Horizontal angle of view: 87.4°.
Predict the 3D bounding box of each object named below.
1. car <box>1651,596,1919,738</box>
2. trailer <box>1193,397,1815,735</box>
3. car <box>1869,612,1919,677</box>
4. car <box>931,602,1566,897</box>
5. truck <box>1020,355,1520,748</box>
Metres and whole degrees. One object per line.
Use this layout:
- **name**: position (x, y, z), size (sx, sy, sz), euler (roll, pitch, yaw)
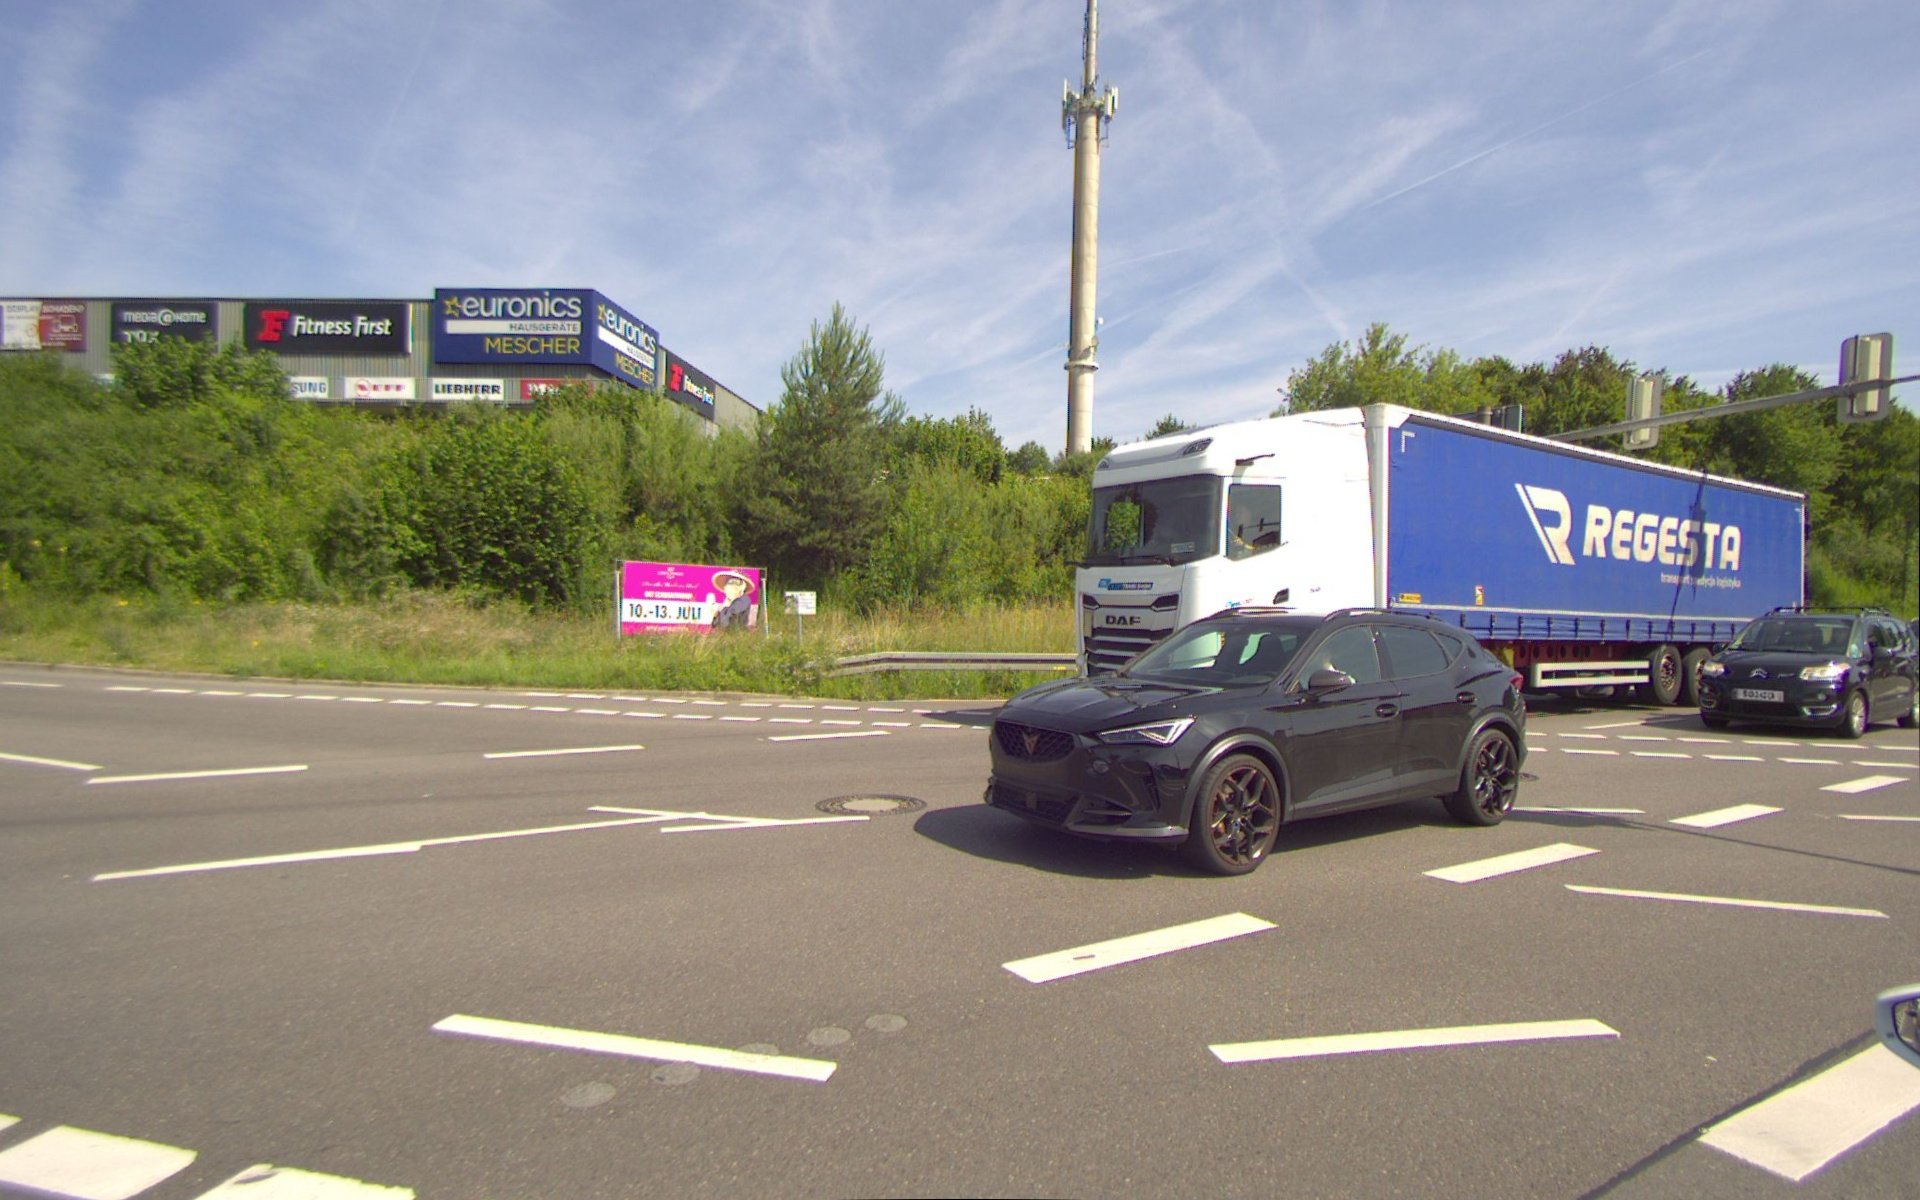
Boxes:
- **car**: position (11.900, 0.857, 14.250), size (3.953, 1.749, 1.984), euler (1, 0, -31)
- **trailer**: position (10.174, -0.301, 17.370), size (13.972, 4.134, 3.076), euler (1, 0, -33)
- **car**: position (26.866, 1.216, 27.644), size (4.267, 1.699, 1.979), euler (1, 0, -37)
- **car**: position (2.180, 0.804, 7.186), size (4.406, 1.505, 1.982), euler (1, 0, -33)
- **truck**: position (4.284, -0.460, 13.597), size (6.276, 4.134, 3.170), euler (1, 0, -33)
